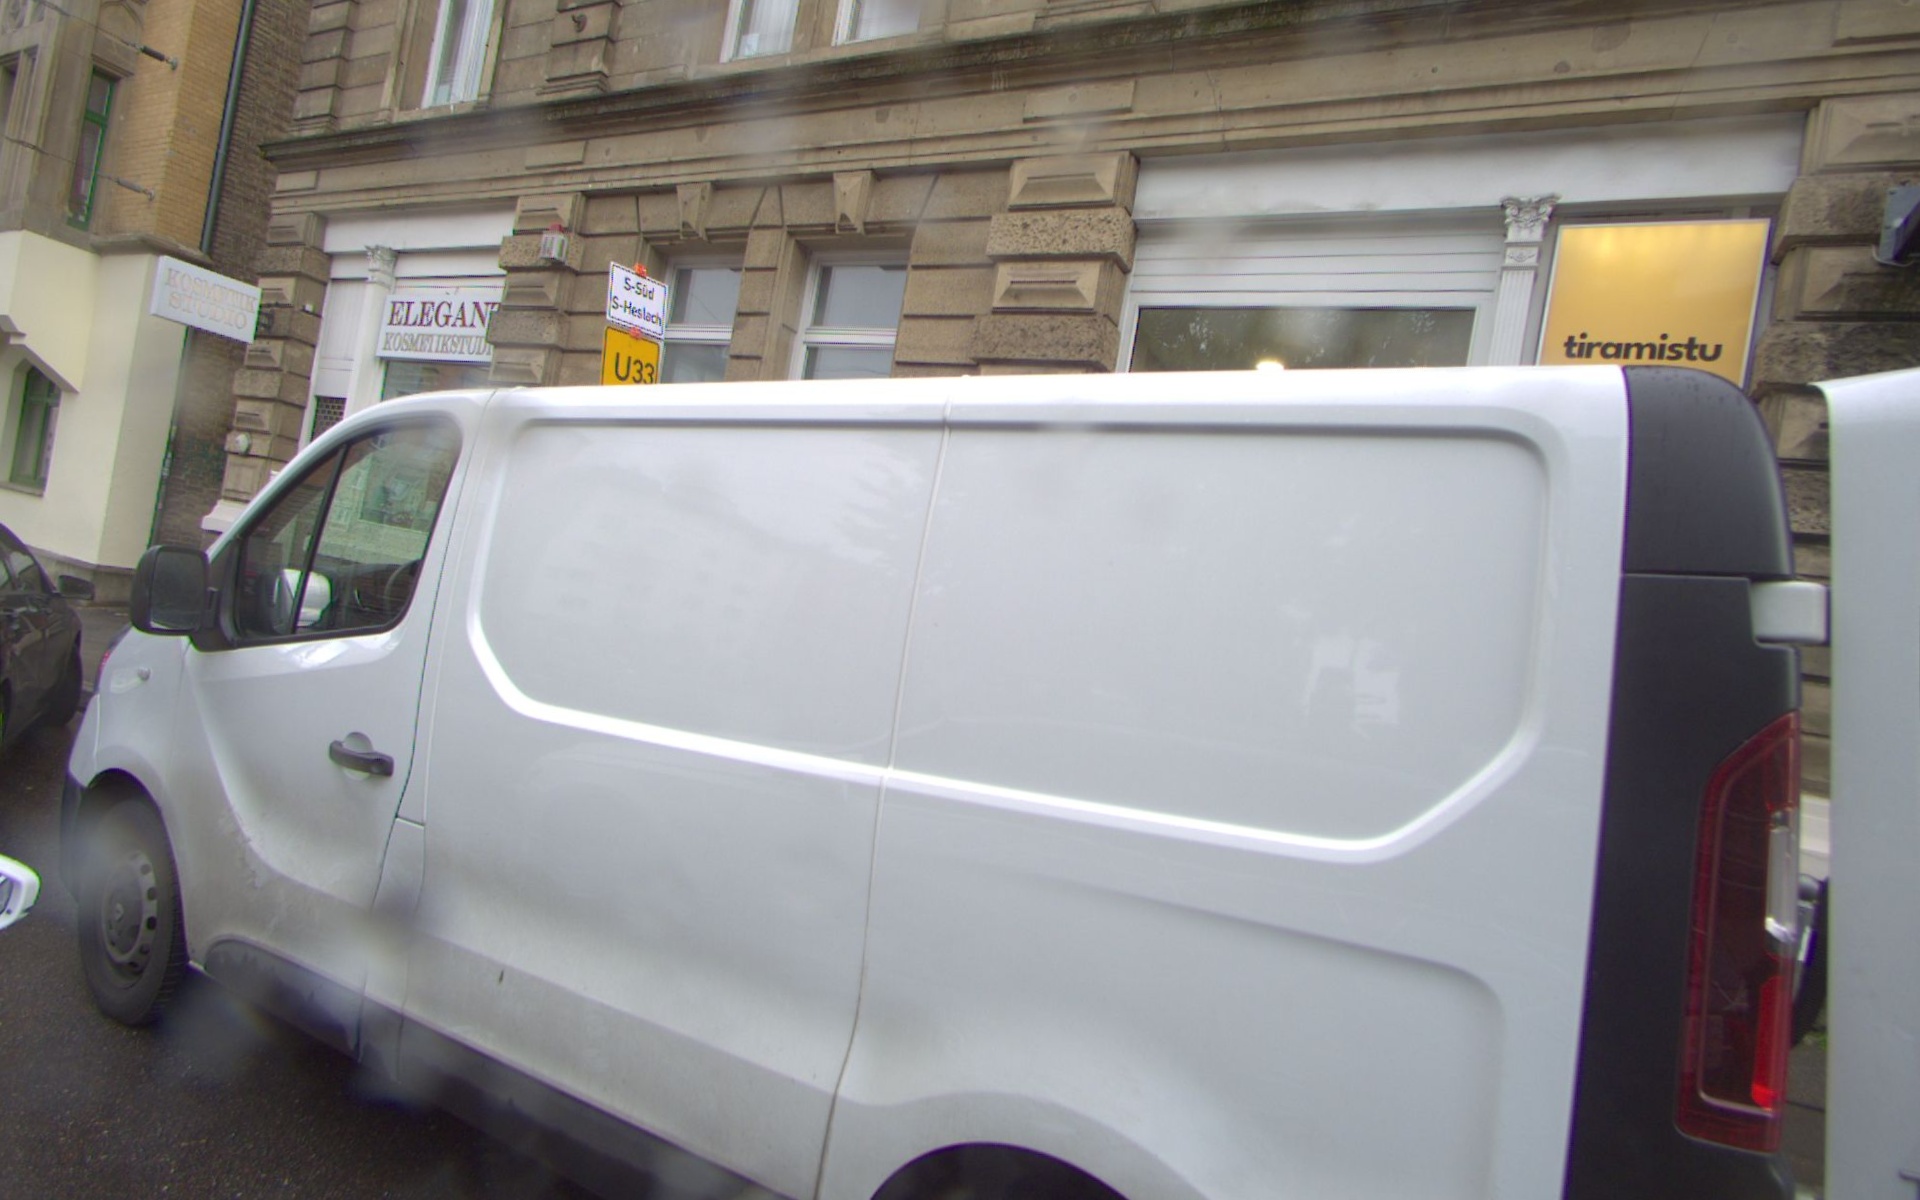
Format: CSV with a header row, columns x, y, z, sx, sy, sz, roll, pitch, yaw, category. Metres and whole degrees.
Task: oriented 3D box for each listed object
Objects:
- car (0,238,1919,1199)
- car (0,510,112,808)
x,y,z,sx,sy,sz,roll,pitch,yaw,category
-0.542,0.477,2.966,4.606,1.958,1.926,7,-2,30,car
-5.922,0.118,5.207,1.885,1.406,3.962,9,-3,-36,car
